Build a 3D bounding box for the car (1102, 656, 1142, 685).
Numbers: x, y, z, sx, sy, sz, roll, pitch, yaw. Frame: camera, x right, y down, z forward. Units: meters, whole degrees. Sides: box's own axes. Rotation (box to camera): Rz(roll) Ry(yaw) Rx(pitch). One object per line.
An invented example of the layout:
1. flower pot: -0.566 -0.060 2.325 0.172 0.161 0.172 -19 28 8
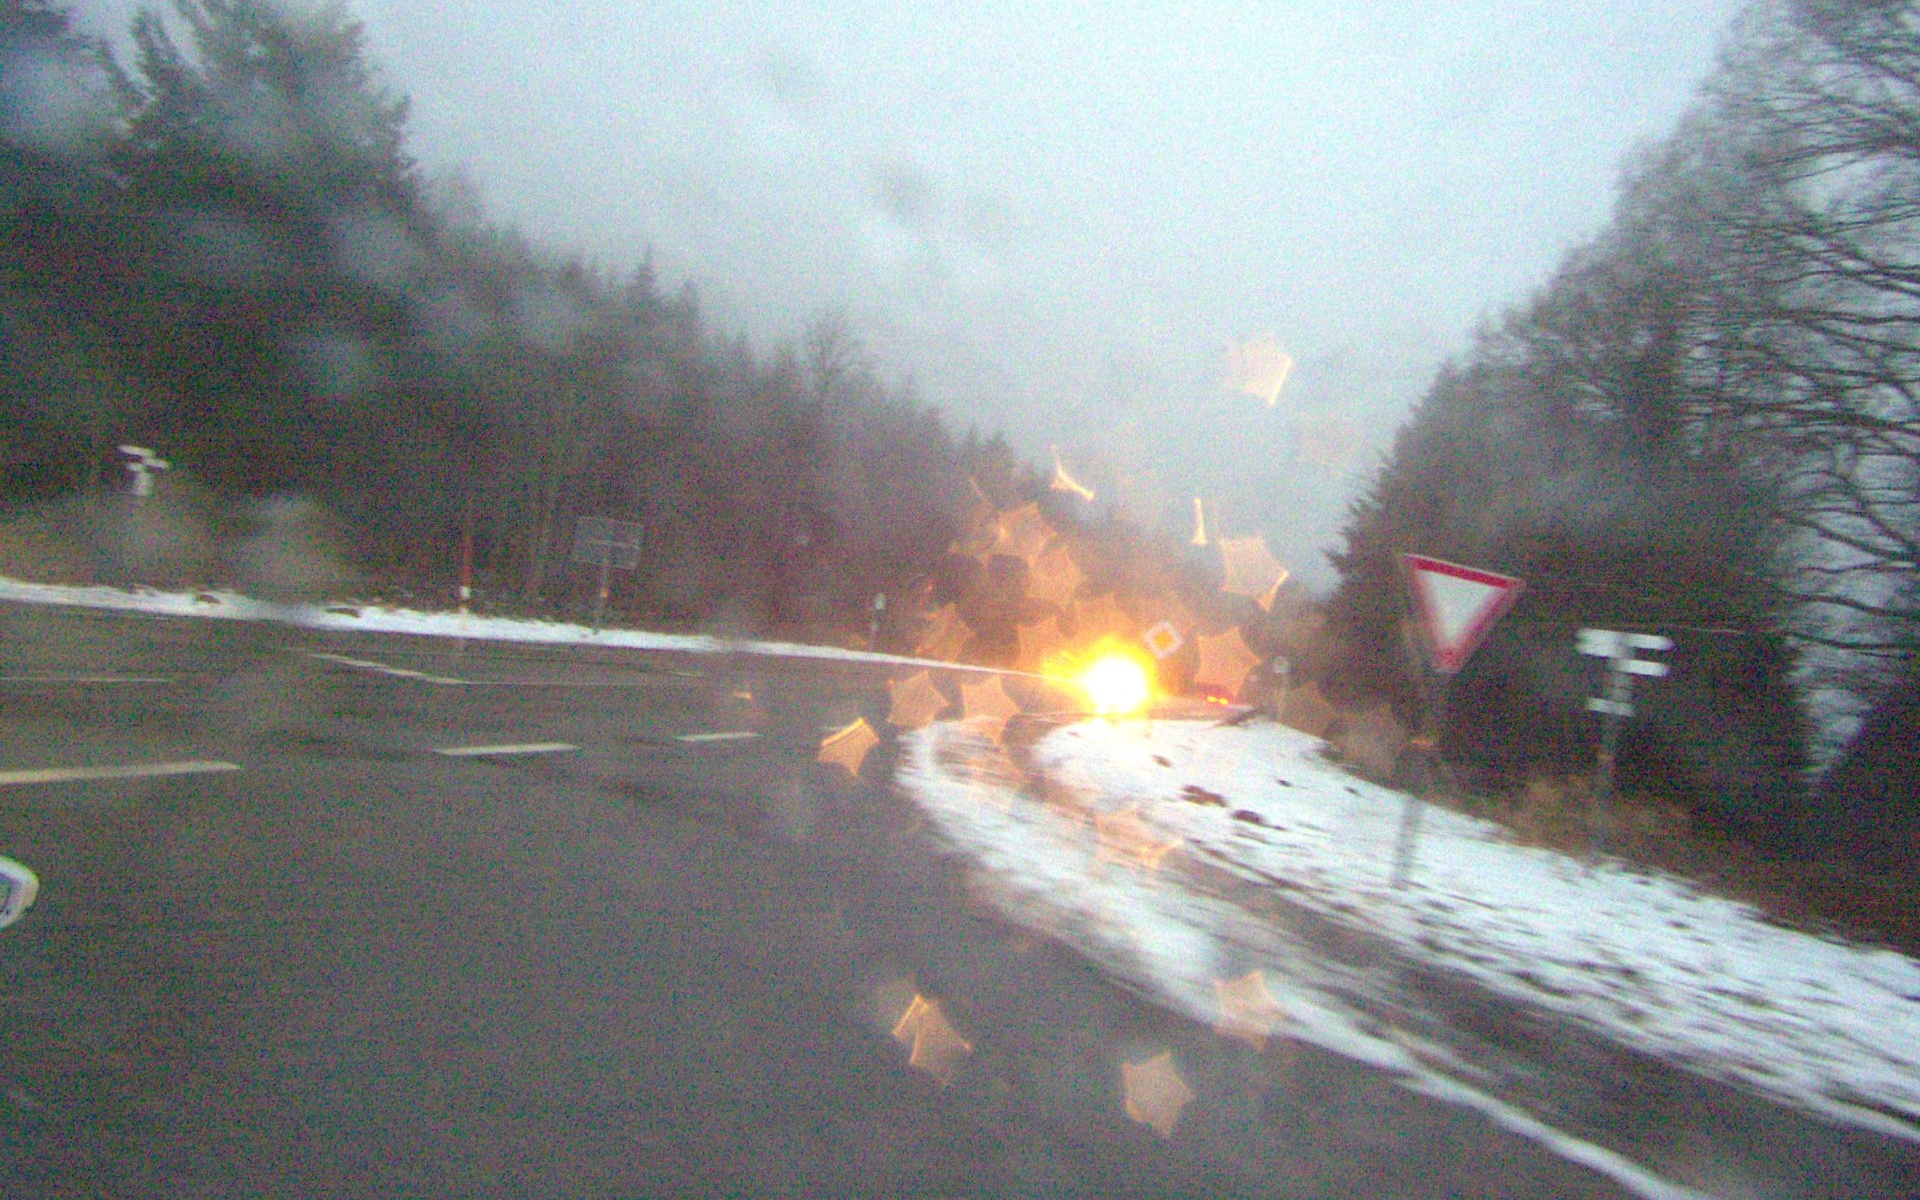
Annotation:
1. car: 9.498 4.134 58.784 1.548 1.469 3.415 7 -2 21
